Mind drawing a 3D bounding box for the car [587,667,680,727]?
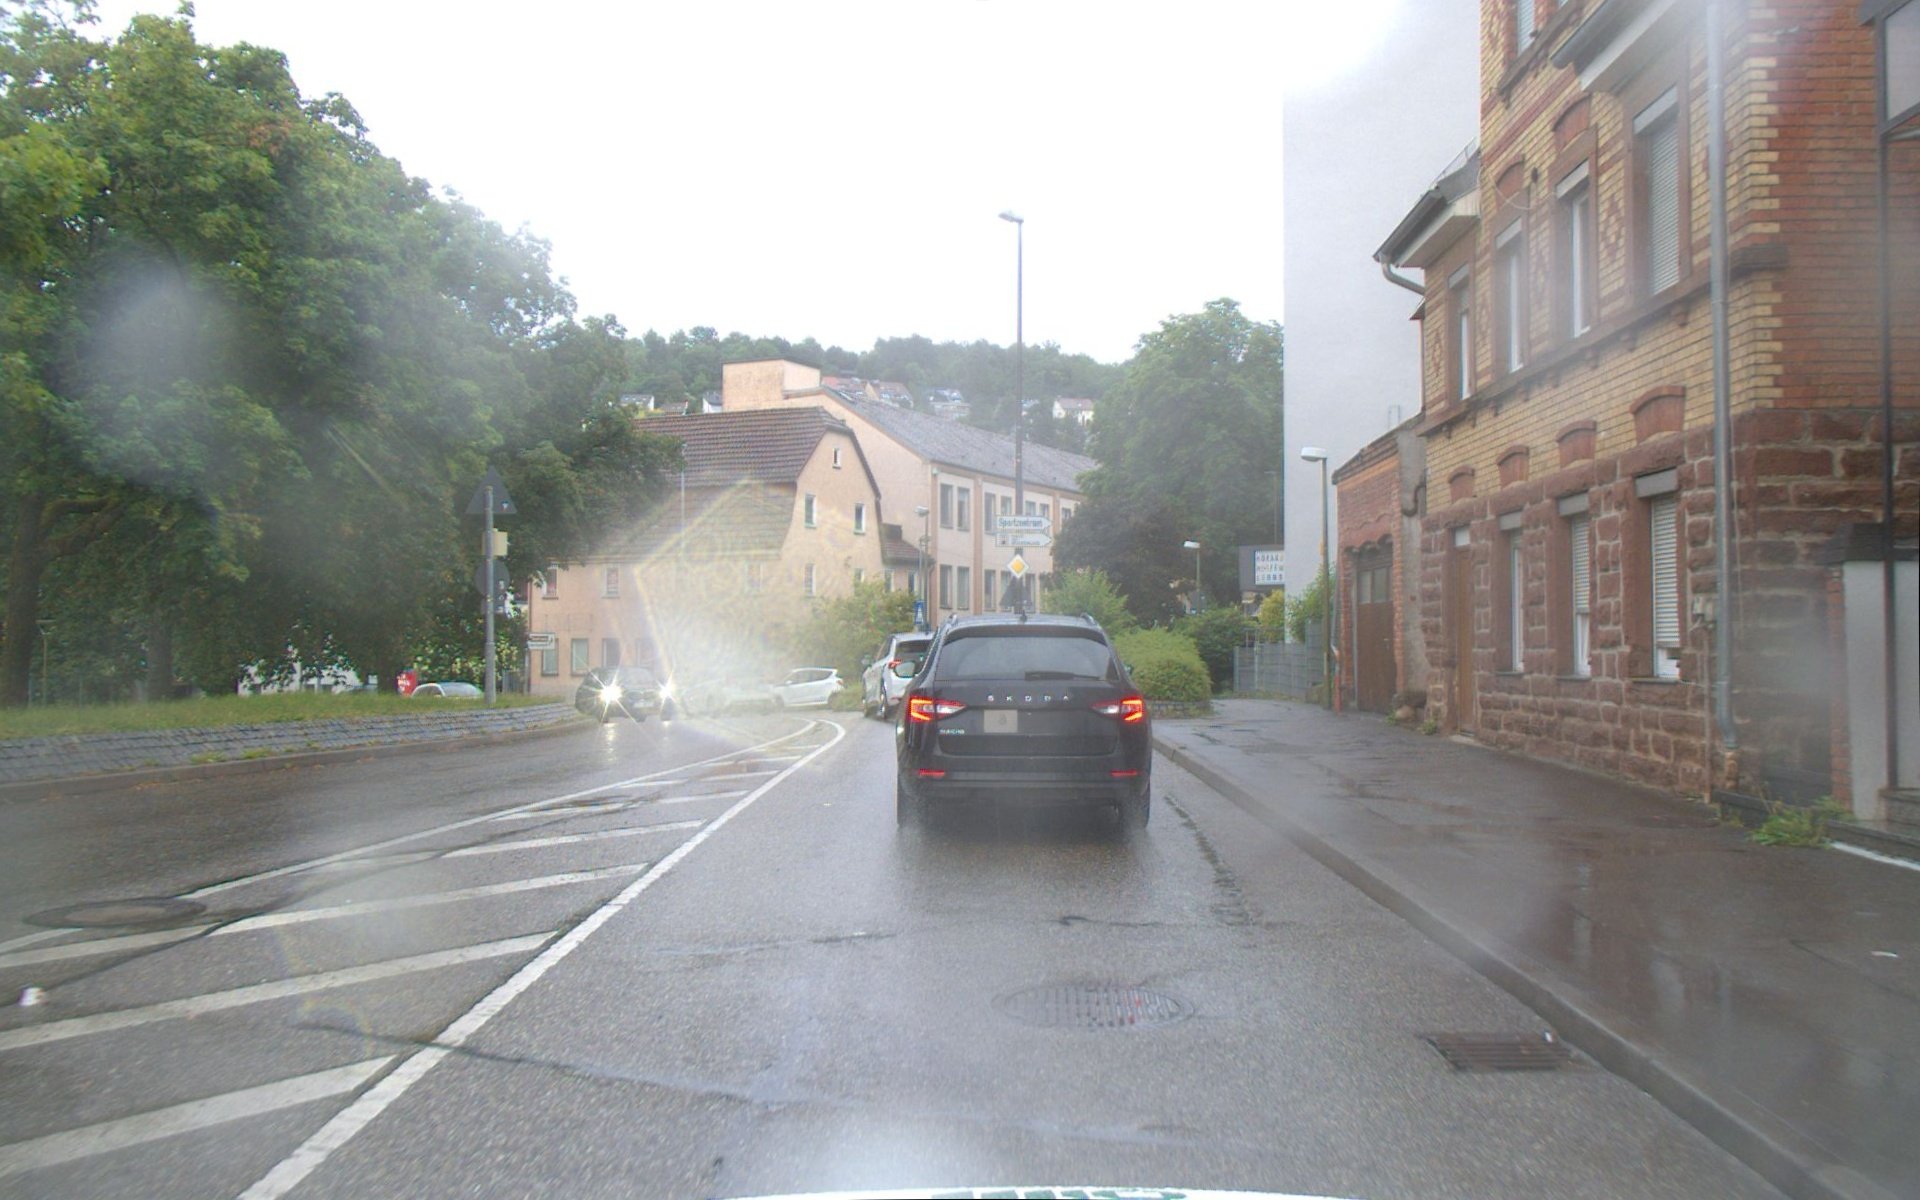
[{"bbox_3d":[-8.271,2.410,41.681,1.710,1.435,4.029,0,-2,-20],"label":"car"}]

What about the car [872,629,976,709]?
[{"bbox_3d":[-0.734,1.282,31.033,1.782,1.383,3.986,0,-2,-4],"label":"car"}]

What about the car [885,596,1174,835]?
[{"bbox_3d":[0.355,0.792,12.728,1.747,1.509,4.242,0,-2,-4],"label":"car"}]

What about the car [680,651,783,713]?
[{"bbox_3d":[-6.524,2.332,46.849,1.706,1.618,4.149,3,-4,-25],"label":"car"}]

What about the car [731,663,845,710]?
[{"bbox_3d":[-6.175,3.108,59.368,3.706,1.478,1.697,-2,-2,-27],"label":"car"}]

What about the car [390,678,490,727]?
[{"bbox_3d":[-18.075,3.567,57.423,1.714,1.531,4.192,1,-4,-42],"label":"car"}]
